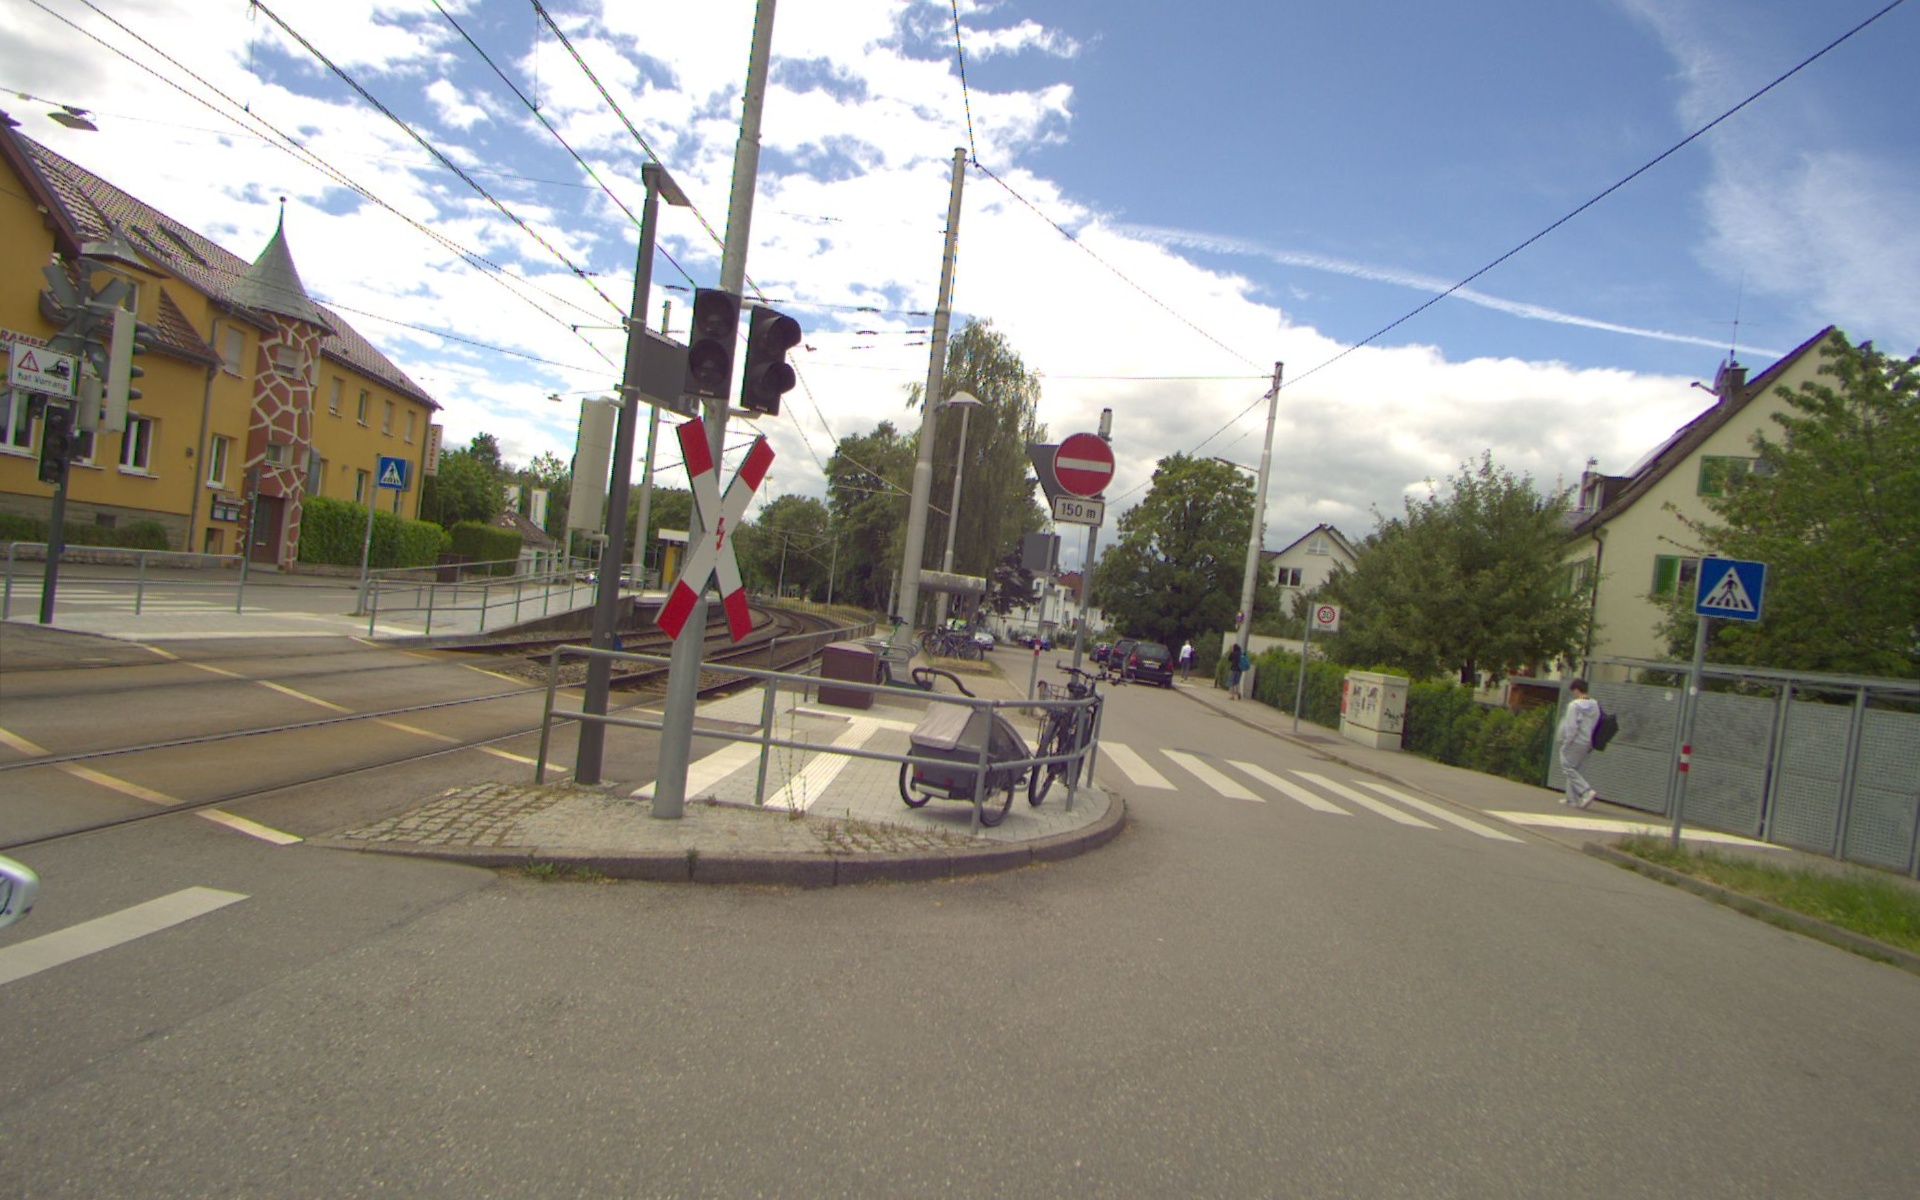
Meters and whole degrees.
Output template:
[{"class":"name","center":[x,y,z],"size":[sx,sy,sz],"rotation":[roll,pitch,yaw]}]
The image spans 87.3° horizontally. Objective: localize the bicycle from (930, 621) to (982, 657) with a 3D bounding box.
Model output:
[{"class":"bicycle","center":[-0.137,1.403,36.062],"size":[1.738,1.054,0.557],"rotation":[7,0,-1]}]

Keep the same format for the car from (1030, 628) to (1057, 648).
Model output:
[{"class":"car","center":[8.217,3.745,98.814],"size":[2.030,1.593,4.263],"rotation":[7,-1,12]}]

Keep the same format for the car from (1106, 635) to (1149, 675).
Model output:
[{"class":"car","center":[8.224,2.673,49.596],"size":[1.787,1.655,4.843],"rotation":[7,-1,9]}]

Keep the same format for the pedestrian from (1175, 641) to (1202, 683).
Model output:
[{"class":"pedestrian","center":[10.295,2.801,45.369],"size":[0.814,1.793,0.682],"rotation":[7,0,33]}]

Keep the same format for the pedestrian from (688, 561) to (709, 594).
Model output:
[{"class":"pedestrian","center":[-14.225,-1.211,54.791],"size":[0.874,1.691,0.908],"rotation":[7,0,-10]}]

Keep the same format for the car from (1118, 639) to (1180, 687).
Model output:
[{"class":"car","center":[7.198,2.370,38.728],"size":[1.787,1.504,4.424],"rotation":[7,-1,5]}]

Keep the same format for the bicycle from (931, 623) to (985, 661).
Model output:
[{"class":"bicycle","center":[-0.064,1.429,34.480],"size":[1.738,1.054,0.557],"rotation":[7,0,-1]}]

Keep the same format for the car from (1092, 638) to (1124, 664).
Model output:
[{"class":"car","center":[9.992,3.441,68.096],"size":[1.729,1.505,4.934],"rotation":[6,-2,6]}]

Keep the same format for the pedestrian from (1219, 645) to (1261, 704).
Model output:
[{"class":"pedestrian","center":[8.847,2.346,31.834],"size":[0.796,1.706,0.947],"rotation":[7,0,-7]}]

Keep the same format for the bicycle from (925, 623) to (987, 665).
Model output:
[{"class":"bicycle","center":[-0.125,1.327,30.386],"size":[1.738,1.054,0.557],"rotation":[7,0,-1]}]

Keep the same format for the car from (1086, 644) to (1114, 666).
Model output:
[{"class":"car","center":[11.029,4.346,79.549],"size":[1.729,1.505,3.904],"rotation":[6,-2,4]}]

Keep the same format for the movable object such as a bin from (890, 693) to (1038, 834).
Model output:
[{"class":"movable object such as a bin","center":[0.056,1.128,7.224],"size":[0.569,0.834,1.094],"rotation":[7,-1,25]}]

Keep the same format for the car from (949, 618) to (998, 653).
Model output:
[{"class":"car","center":[0.716,1.936,55.802],"size":[2.034,1.593,4.256],"rotation":[7,-1,-7]}]

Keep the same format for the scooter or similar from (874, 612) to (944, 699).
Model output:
[{"class":"scooter or similar","center":[-0.865,0.941,17.223],"size":[1.031,1.333,0.489],"rotation":[7,2,1]}]

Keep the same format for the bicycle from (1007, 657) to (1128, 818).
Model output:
[{"class":"bicycle","center":[0.951,1.094,8.494],"size":[0.458,1.170,1.692],"rotation":[7,0,21]}]

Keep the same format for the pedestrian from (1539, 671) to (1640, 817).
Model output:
[{"class":"pedestrian","center":[9.040,2.056,14.471],"size":[0.618,1.939,0.826],"rotation":[6,2,-24]}]

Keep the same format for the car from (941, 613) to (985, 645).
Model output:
[{"class":"car","center":[0.132,1.768,62.115],"size":[2.034,1.593,4.256],"rotation":[7,-1,-7]}]

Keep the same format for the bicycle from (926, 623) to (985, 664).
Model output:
[{"class":"bicycle","center":[-0.145,1.384,32.009],"size":[1.738,1.054,0.557],"rotation":[7,0,-1]}]

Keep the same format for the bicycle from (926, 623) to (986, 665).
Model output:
[{"class":"bicycle","center":[-0.137,1.366,31.289],"size":[1.738,1.054,0.557],"rotation":[7,0,-1]}]

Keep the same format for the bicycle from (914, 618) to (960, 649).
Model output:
[{"class":"bicycle","center":[-0.967,1.396,41.827],"size":[1.742,1.054,0.556],"rotation":[8,0,-11]}]

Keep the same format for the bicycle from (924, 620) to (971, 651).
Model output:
[{"class":"bicycle","center":[-0.525,1.448,41.119],"size":[1.741,1.054,0.556],"rotation":[8,0,-10]}]
